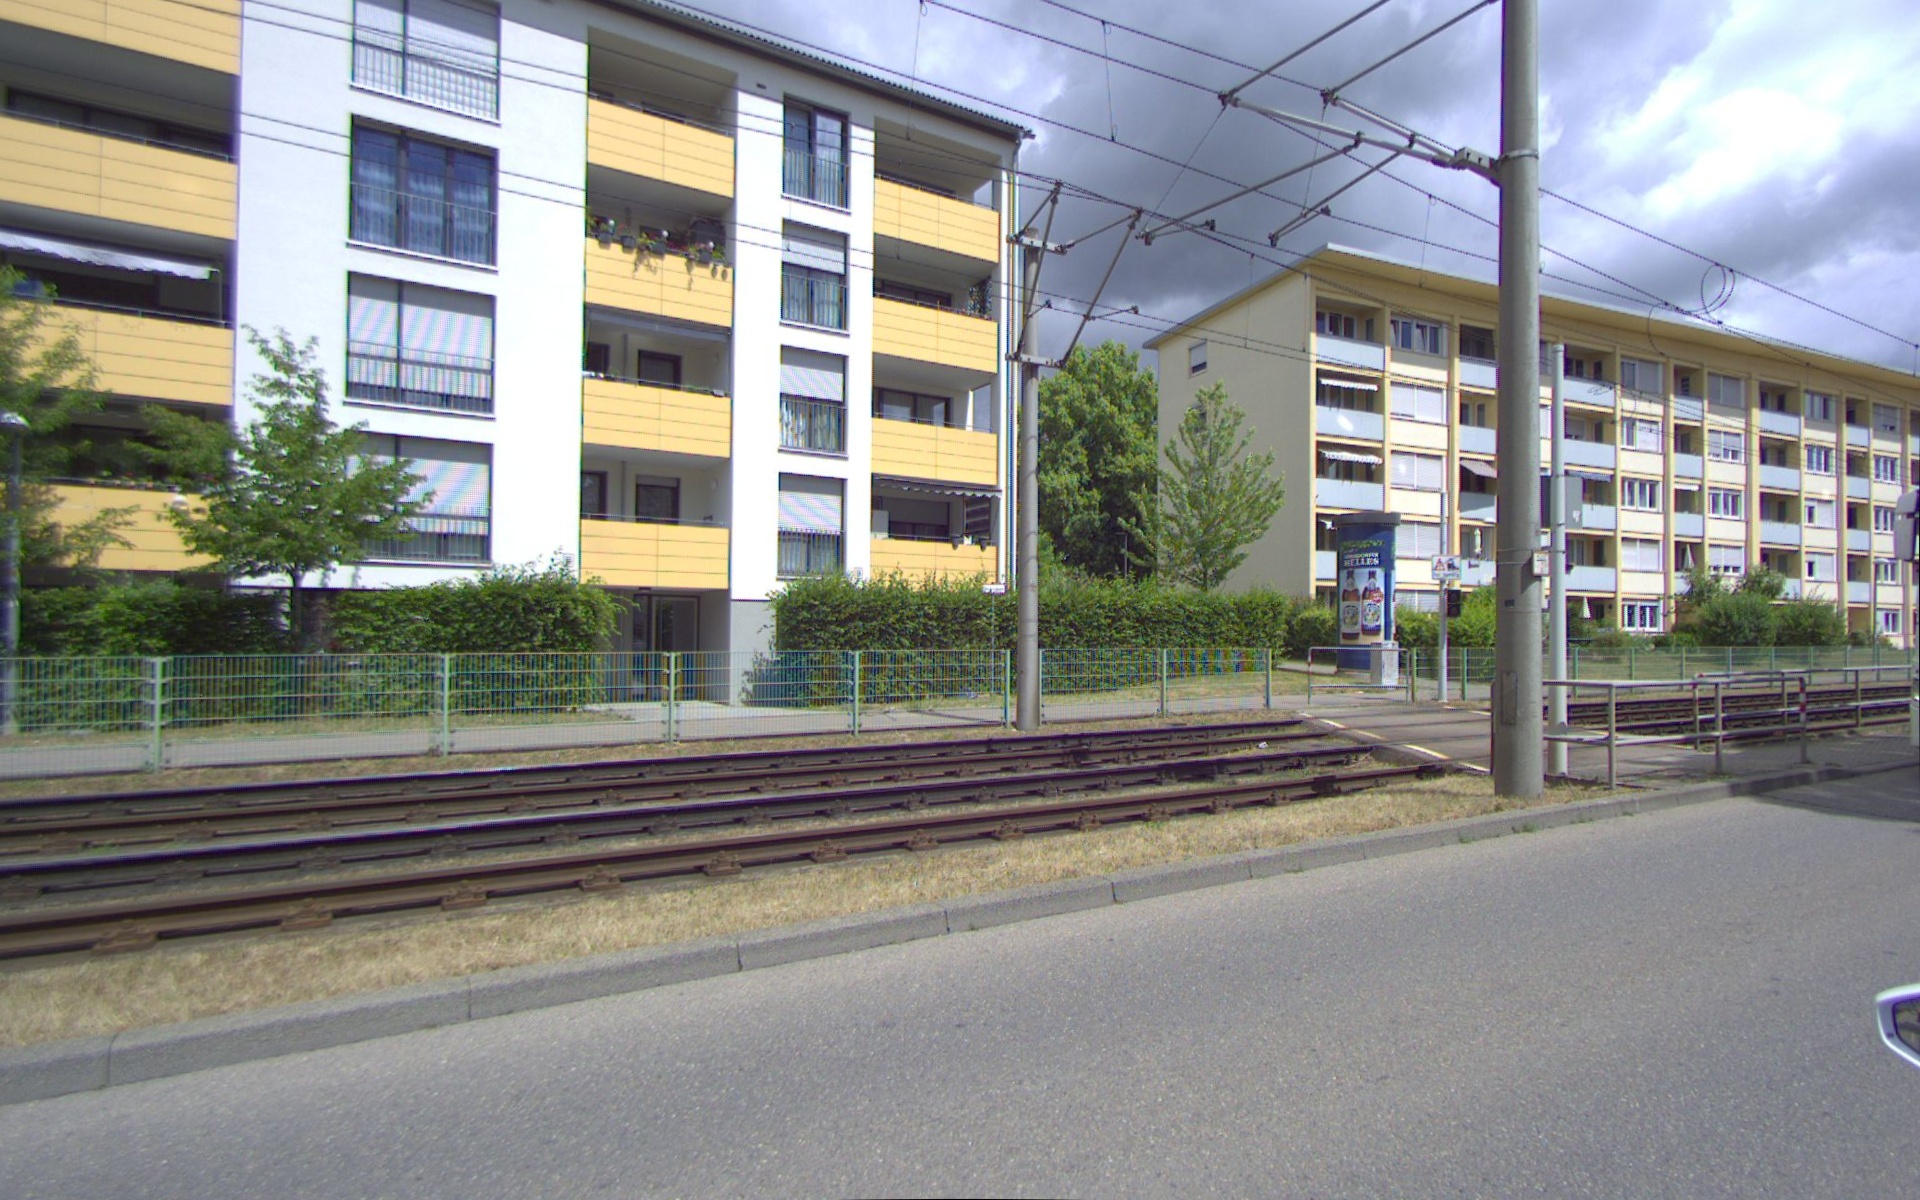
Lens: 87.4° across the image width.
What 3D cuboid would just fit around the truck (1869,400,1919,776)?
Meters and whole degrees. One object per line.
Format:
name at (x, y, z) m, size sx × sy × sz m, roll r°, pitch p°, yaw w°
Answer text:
truck at (12.351, -0.075, 10.395) m, size 6.073 × 3.628 × 2.685 m, roll 1°, pitch 0°, yaw -31°
